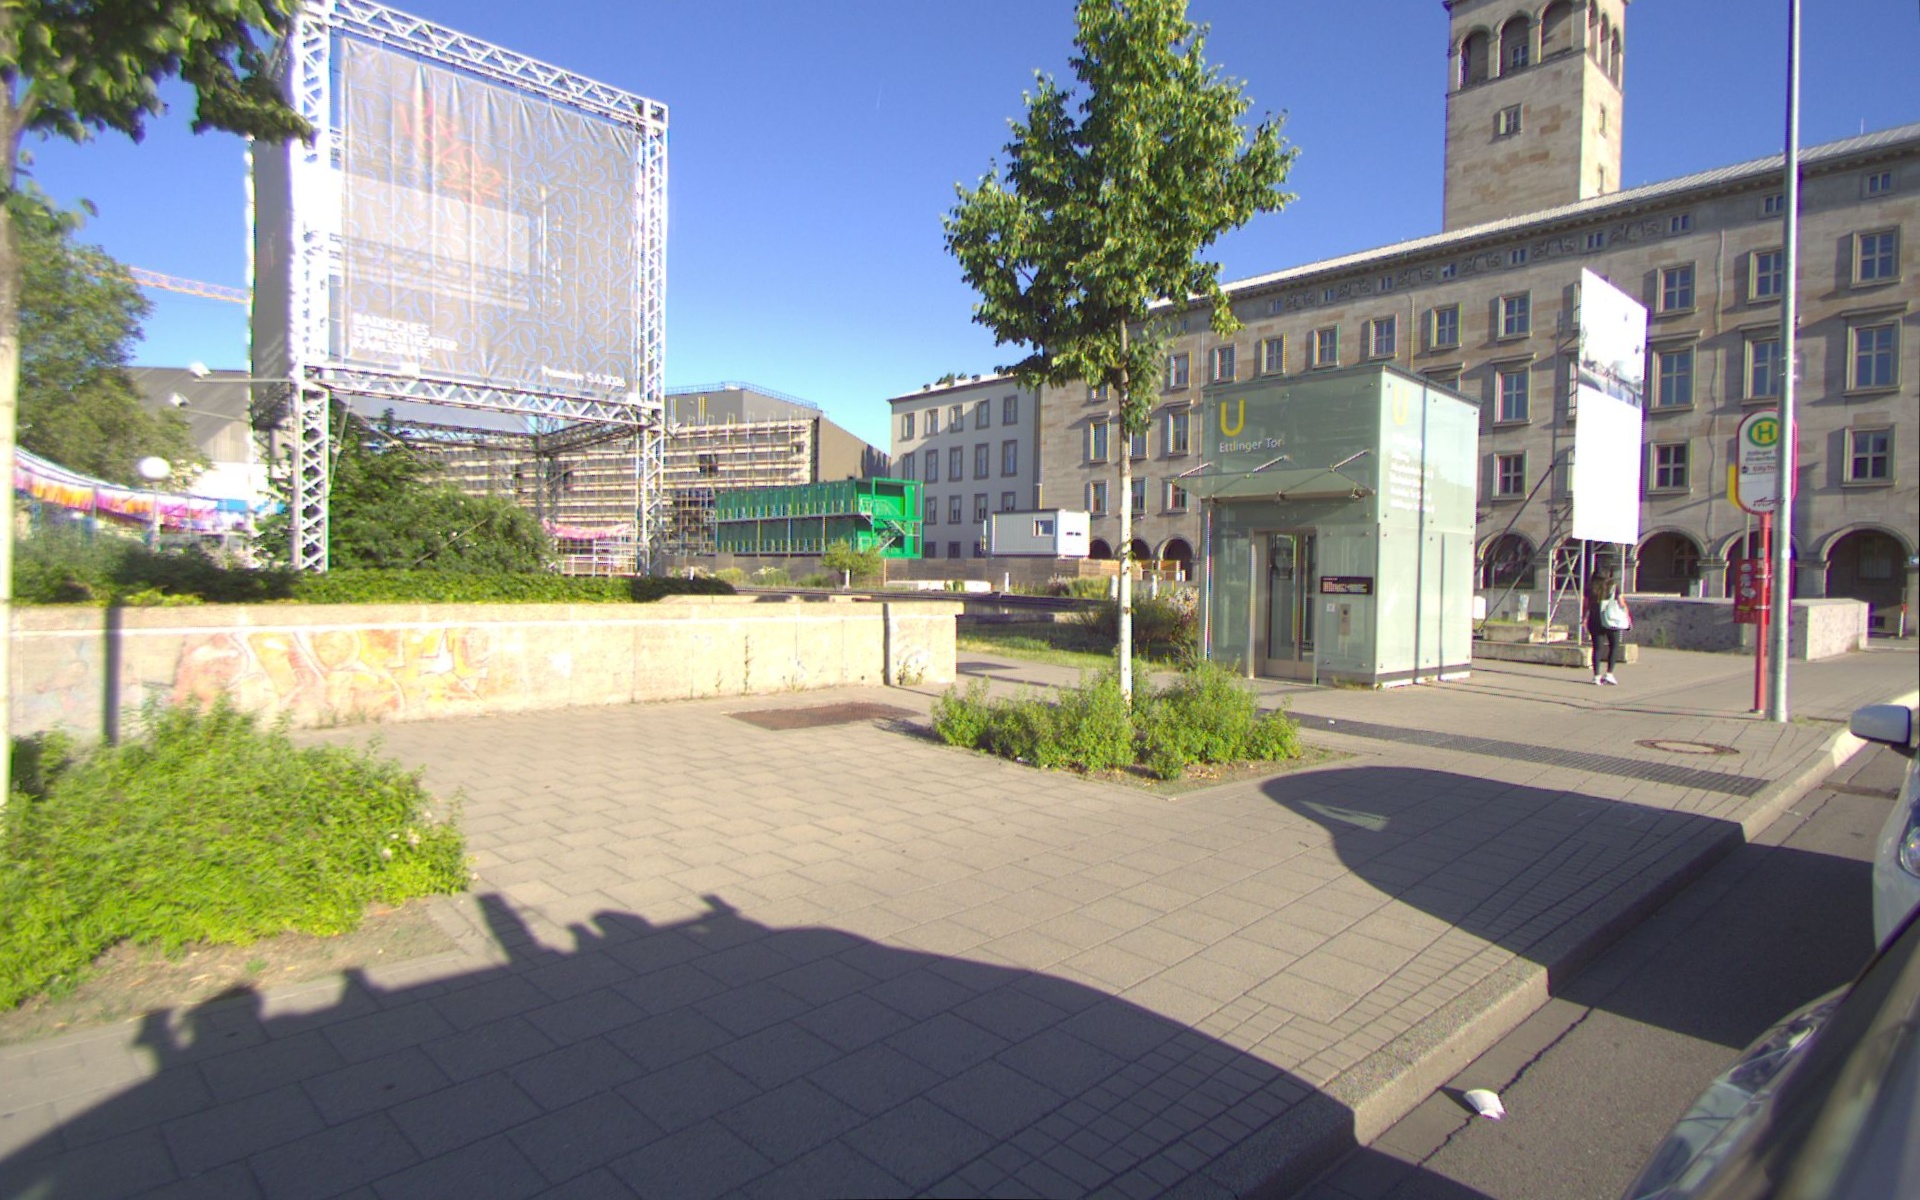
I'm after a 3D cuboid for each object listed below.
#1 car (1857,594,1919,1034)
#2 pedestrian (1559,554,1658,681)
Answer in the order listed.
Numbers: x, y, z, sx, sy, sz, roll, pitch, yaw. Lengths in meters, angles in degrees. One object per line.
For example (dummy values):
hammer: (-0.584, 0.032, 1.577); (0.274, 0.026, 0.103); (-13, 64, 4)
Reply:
car: (5.100, 0.712, 4.039); (3.819, 1.467, 1.678); (0, 0, -39)
pedestrian: (9.654, 0.233, 15.065); (1.053, 1.809, 0.941); (0, 1, -41)
